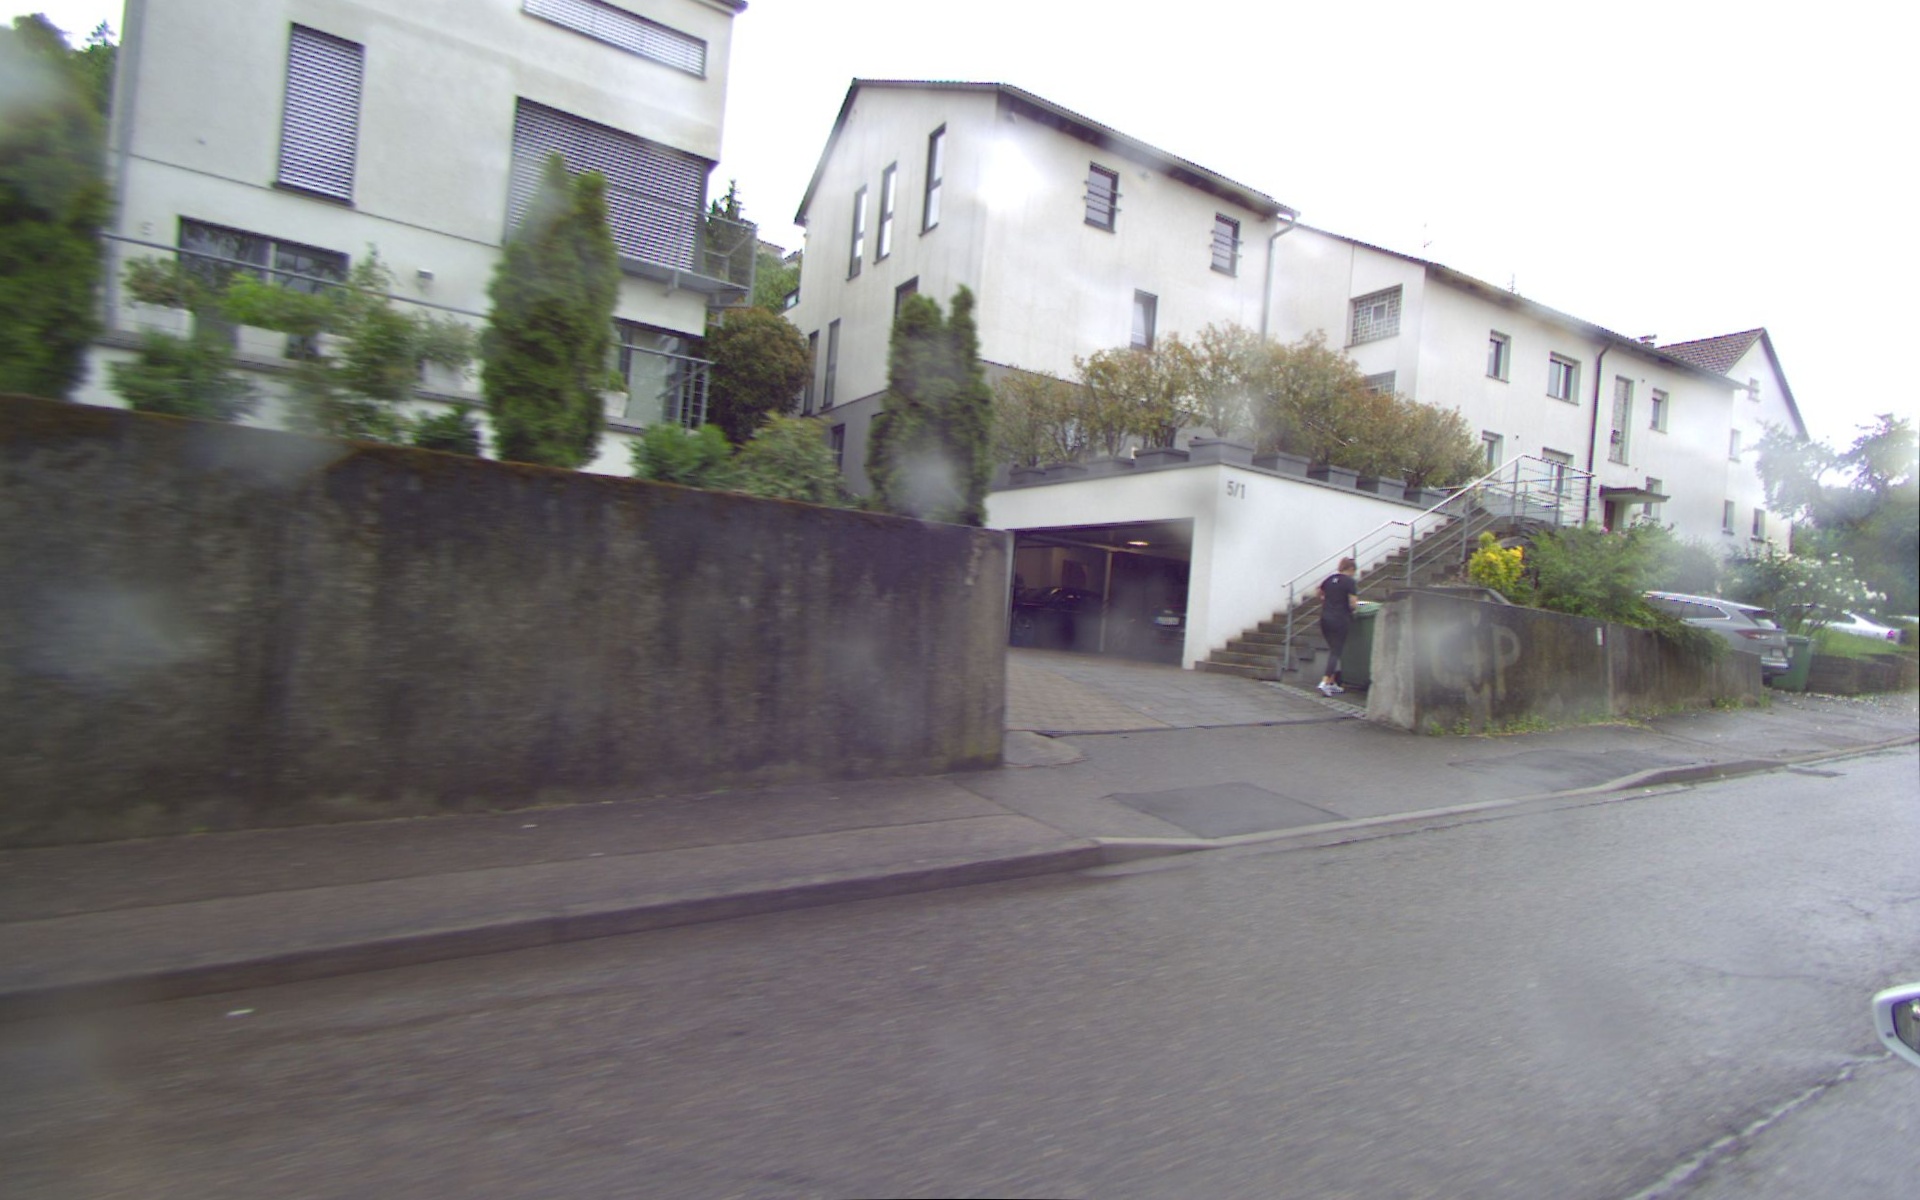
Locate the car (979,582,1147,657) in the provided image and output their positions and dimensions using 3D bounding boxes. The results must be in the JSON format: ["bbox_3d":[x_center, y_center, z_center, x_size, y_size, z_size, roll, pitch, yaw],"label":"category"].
[{"bbox_3d":[2.222,0.431,21.535,3.263,1.195,1.500,8,-2,-30],"label":"car"}]

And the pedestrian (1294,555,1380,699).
[{"bbox_3d":[4.546,0.300,12.122,0.726,1.671,0.651,0,2,-38],"label":"pedestrian"}]

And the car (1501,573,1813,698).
[{"bbox_3d":[13.394,0.595,19.599,1.913,1.636,4.480,2,7,-35],"label":"car"}]

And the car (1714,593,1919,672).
[{"bbox_3d":[25.151,0.902,29.563,1.745,1.450,4.232,3,9,-29],"label":"car"}]

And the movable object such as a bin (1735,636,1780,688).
[{"bbox_3d":[15.916,1.232,20.043,0.489,0.966,0.466,2,5,-33],"label":"movable object such as a bin"}]

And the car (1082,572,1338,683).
[{"bbox_3d":[4.304,0.479,17.144,4.071,1.371,1.780,8,-2,-30],"label":"car"}]

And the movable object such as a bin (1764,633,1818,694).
[{"bbox_3d":[16.251,1.224,19.641,0.736,1.090,0.533,1,7,-37],"label":"movable object such as a bin"}]
